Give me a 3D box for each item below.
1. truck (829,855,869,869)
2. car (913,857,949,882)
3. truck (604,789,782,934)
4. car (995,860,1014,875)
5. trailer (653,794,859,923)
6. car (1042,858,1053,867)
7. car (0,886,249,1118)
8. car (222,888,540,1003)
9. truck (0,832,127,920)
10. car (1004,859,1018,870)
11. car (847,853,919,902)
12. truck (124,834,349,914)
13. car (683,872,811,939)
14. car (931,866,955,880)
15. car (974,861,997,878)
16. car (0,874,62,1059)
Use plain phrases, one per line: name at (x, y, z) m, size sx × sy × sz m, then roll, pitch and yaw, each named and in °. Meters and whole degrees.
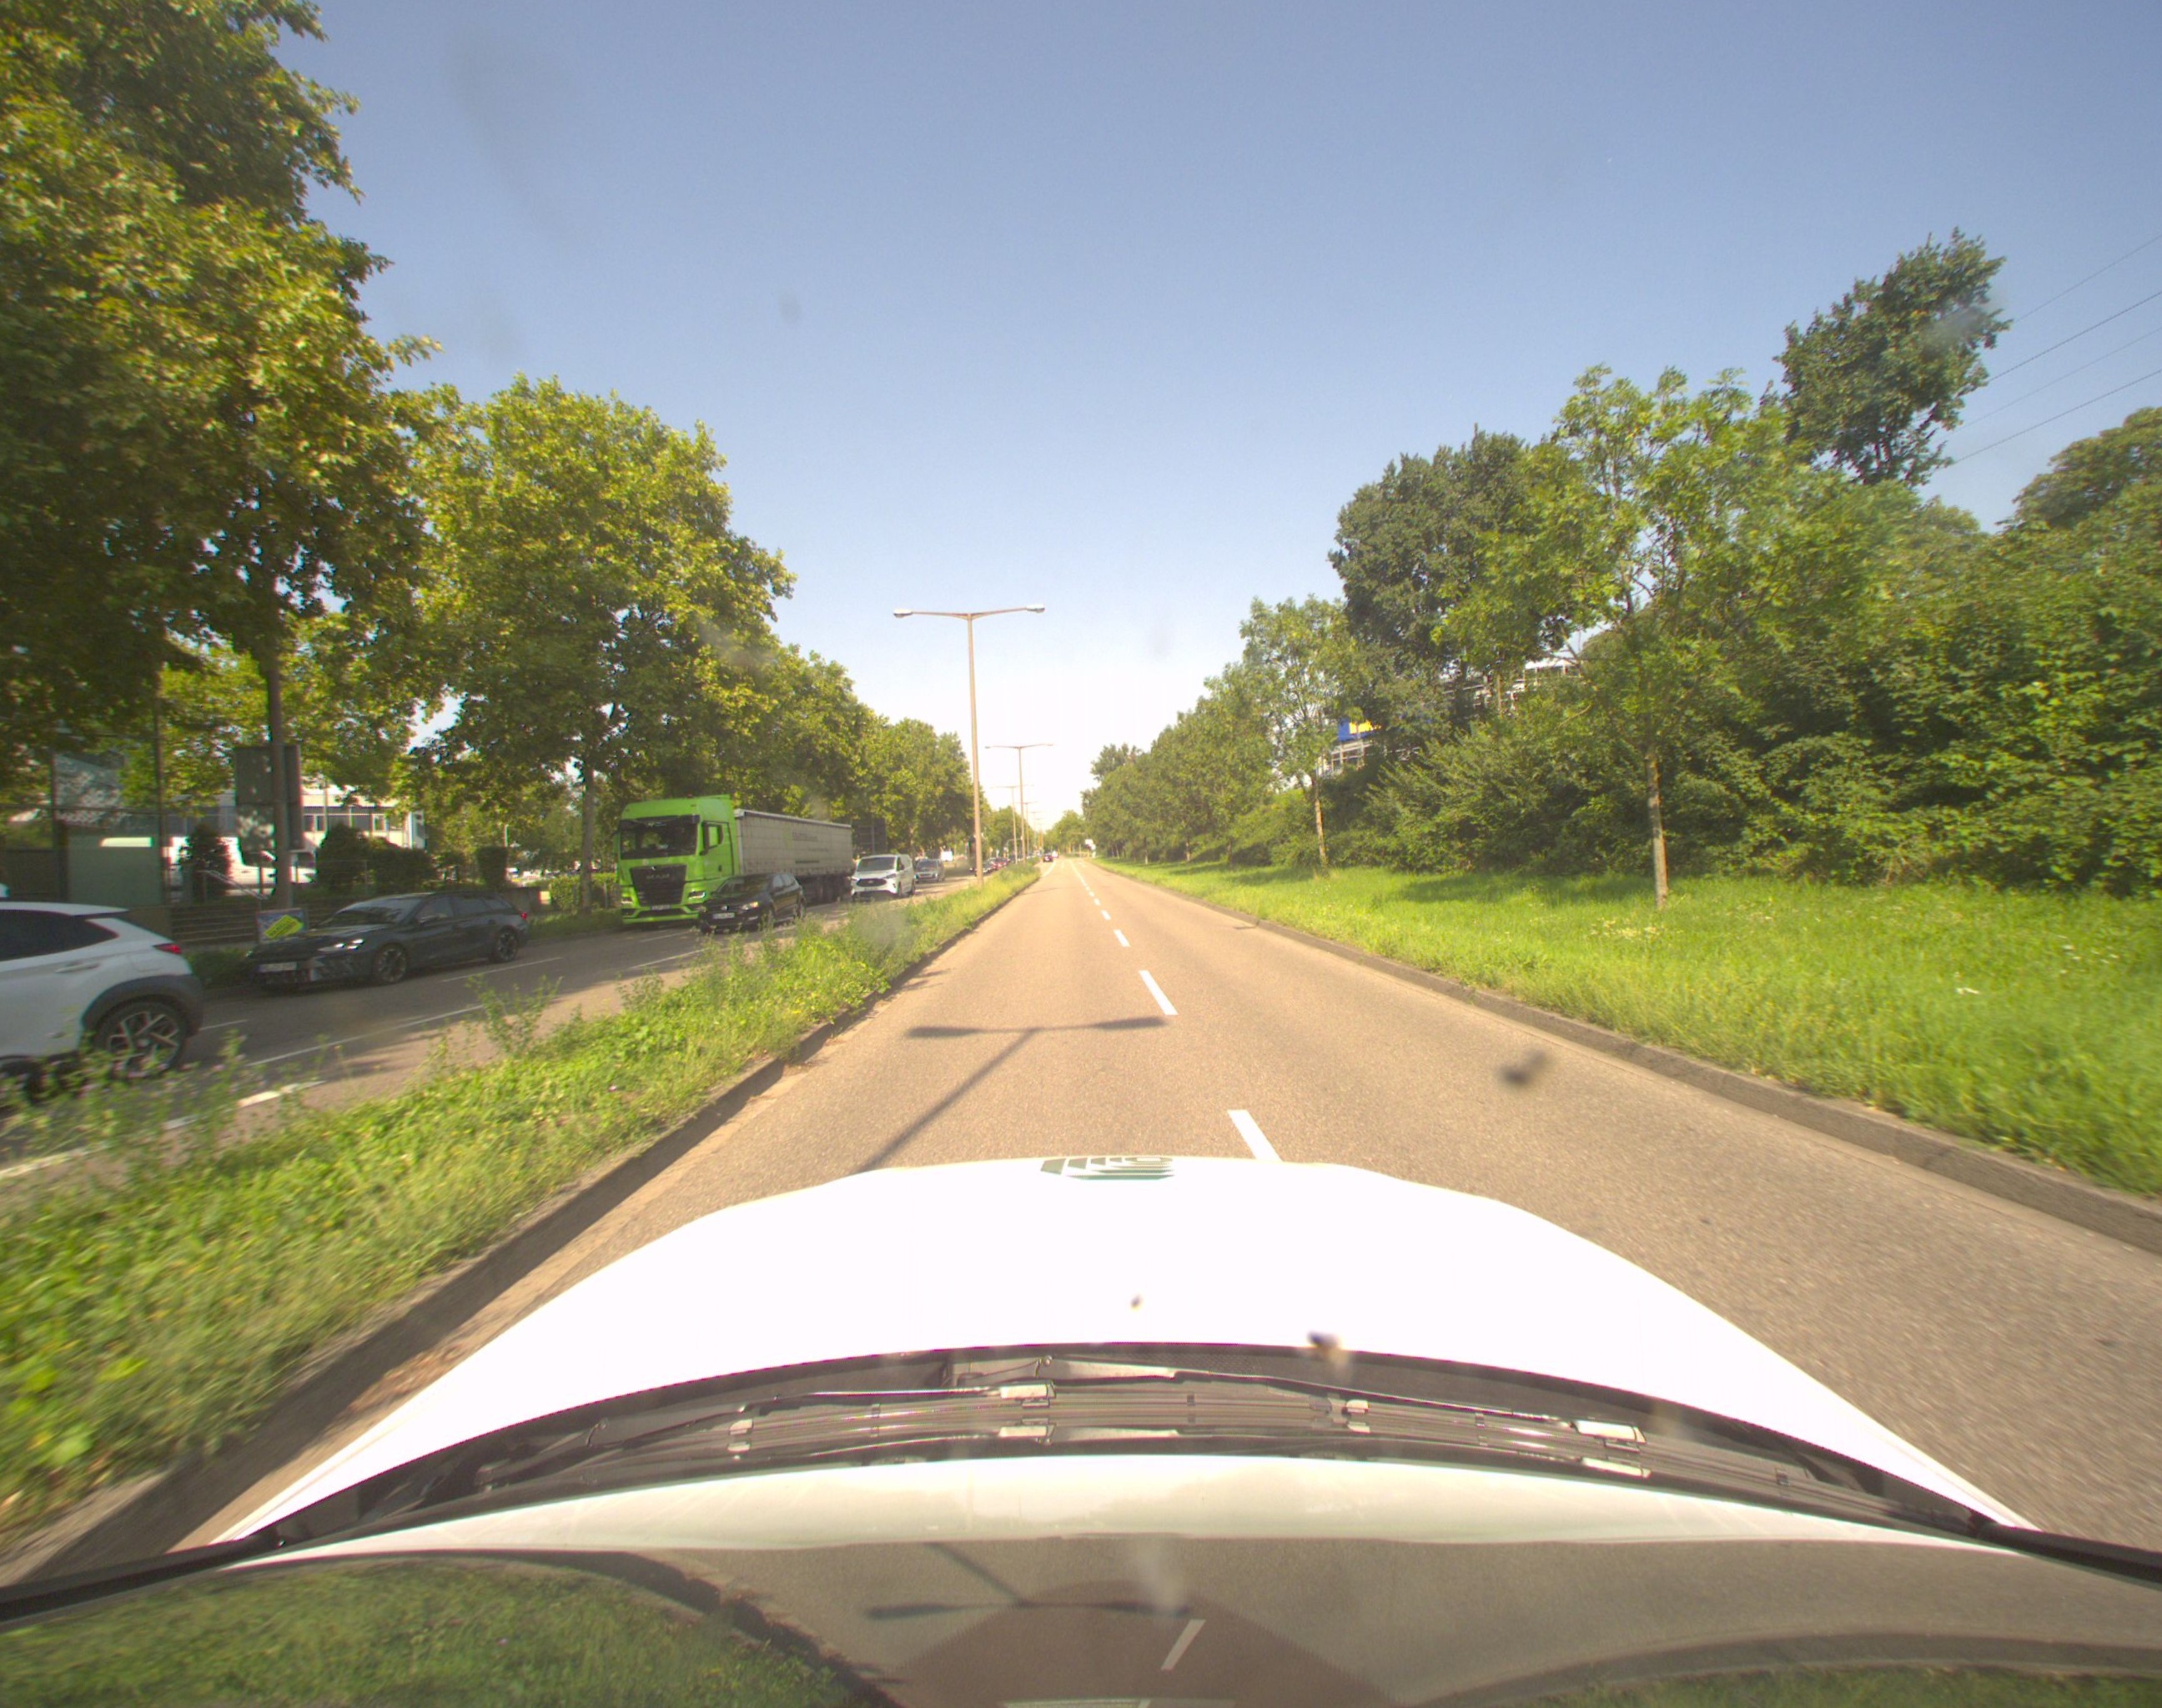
truck at (-59.174, 2.098, 208.138) m, size 9.057 × 2.958 × 3.474 m, roll -3°, pitch 0°, yaw -38°
car at (-12.216, 1.268, 66.771) m, size 1.979 × 1.858 × 4.966 m, roll -4°, pitch 0°, yaw -1°
truck at (-11.802, 0.223, 25.466) m, size 2.600 × 3.819 × 5.888 m, roll -4°, pitch 0°, yaw -1°
car at (-9.533, 1.661, 101.461) m, size 1.948 × 1.724 × 4.584 m, roll -3°, pitch 0°, yaw -1°
trailer at (-11.943, 0.201, 32.160) m, size 2.626 × 3.821 × 13.803 m, roll -4°, pitch 0°, yaw -1°
car at (-6.198, 1.555, 152.347) m, size 1.685 × 1.486 × 4.002 m, roll -2°, pitch 0°, yaw 2°
car at (-8.239, 1.091, 5.135) m, size 1.690 × 1.528 × 4.137 m, roll -4°, pitch 0°, yaw -1°
car at (-11.700, 1.427, 14.128) m, size 1.642 × 1.411 × 4.477 m, roll -4°, pitch 0°, yaw -1°
truck at (-36.198, 0.742, 25.340) m, size 1.986 × 2.861 × 9.131 m, roll -2°, pitch 0°, yaw 2°
car at (-12.554, 1.924, 145.883) m, size 1.988 × 1.759 × 4.475 m, roll -4°, pitch 0°, yaw -1°
car at (-8.608, 0.978, 35.909) m, size 1.988 × 1.953 × 5.033 m, roll -2°, pitch 0°, yaw -2°
truck at (-33.159, 0.701, 32.344) m, size 5.935 × 2.861 × 2.213 m, roll -2°, pitch -1°, yaw -39°
car at (-8.449, 1.257, 20.997) m, size 1.609 × 1.398 × 3.857 m, roll -4°, pitch 0°, yaw 0°
car at (-14.998, 2.059, 88.798) m, size 1.785 × 1.263 × 4.095 m, roll -4°, pitch 0°, yaw 1°
car at (-9.351, 1.540, 79.976) m, size 1.742 × 1.479 × 4.581 m, roll -4°, pitch 0°, yaw -3°
car at (-11.921, 1.196, 6.427) m, size 1.699 × 1.888 × 4.746 m, roll -4°, pitch -1°, yaw -1°
